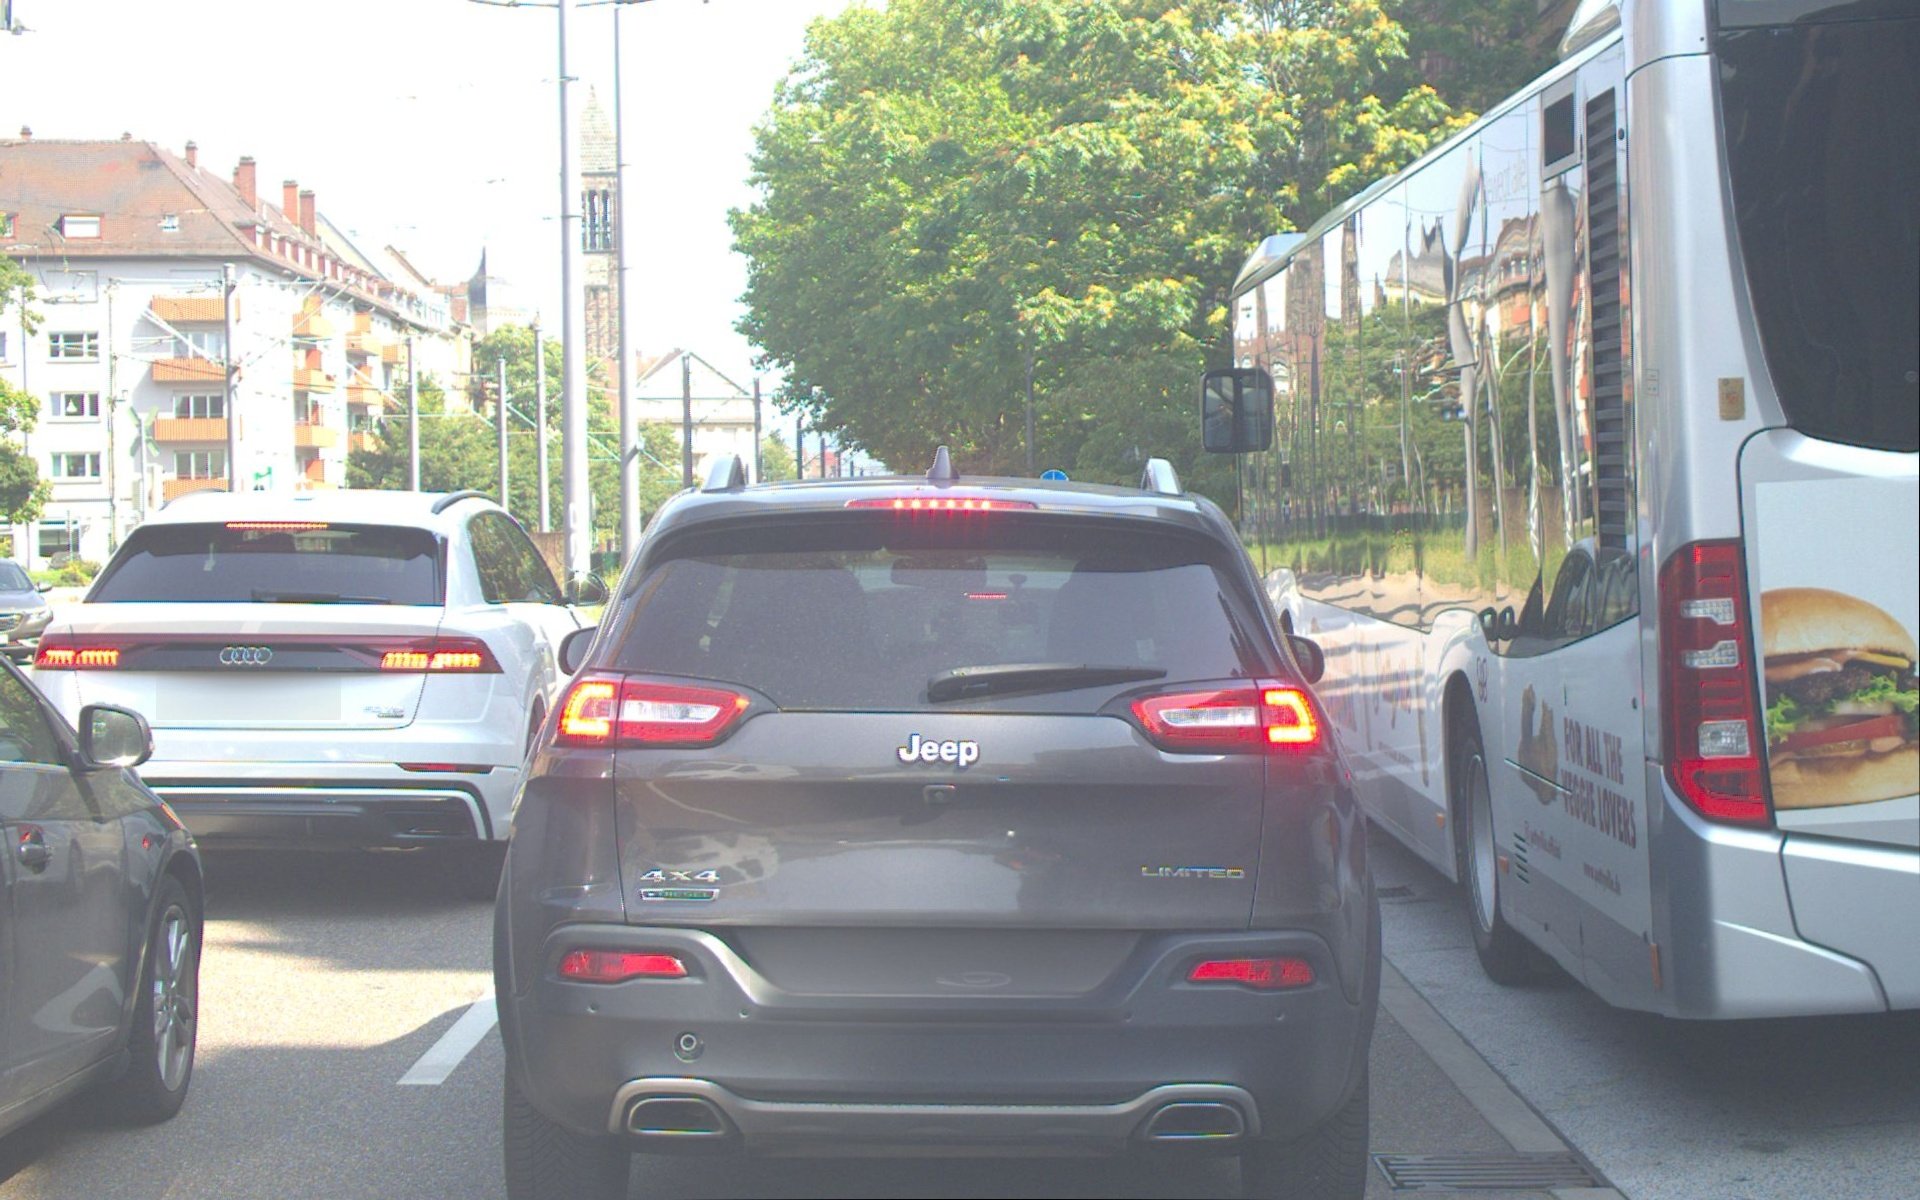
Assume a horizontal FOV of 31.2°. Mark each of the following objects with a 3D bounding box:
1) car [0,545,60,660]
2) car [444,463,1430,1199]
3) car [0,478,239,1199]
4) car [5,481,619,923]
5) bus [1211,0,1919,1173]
[{"bbox_3d":[-13.166,0.017,46.305,1.746,1.430,4.574,-3,2,-17],"label":"car"},{"bbox_3d":[-0.029,0.528,8.580,1.832,1.646,4.308,0,1,0],"label":"car"},{"bbox_3d":[-2.809,0.549,7.162,1.747,1.609,4.309,0,1,-1],"label":"car"},{"bbox_3d":[-2.628,0.331,14.970,1.902,1.646,4.309,0,1,-1],"label":"car"},{"bbox_3d":[2.885,-0.410,13.871,2.743,3.096,11.956,-3,1,0],"label":"bus"}]
